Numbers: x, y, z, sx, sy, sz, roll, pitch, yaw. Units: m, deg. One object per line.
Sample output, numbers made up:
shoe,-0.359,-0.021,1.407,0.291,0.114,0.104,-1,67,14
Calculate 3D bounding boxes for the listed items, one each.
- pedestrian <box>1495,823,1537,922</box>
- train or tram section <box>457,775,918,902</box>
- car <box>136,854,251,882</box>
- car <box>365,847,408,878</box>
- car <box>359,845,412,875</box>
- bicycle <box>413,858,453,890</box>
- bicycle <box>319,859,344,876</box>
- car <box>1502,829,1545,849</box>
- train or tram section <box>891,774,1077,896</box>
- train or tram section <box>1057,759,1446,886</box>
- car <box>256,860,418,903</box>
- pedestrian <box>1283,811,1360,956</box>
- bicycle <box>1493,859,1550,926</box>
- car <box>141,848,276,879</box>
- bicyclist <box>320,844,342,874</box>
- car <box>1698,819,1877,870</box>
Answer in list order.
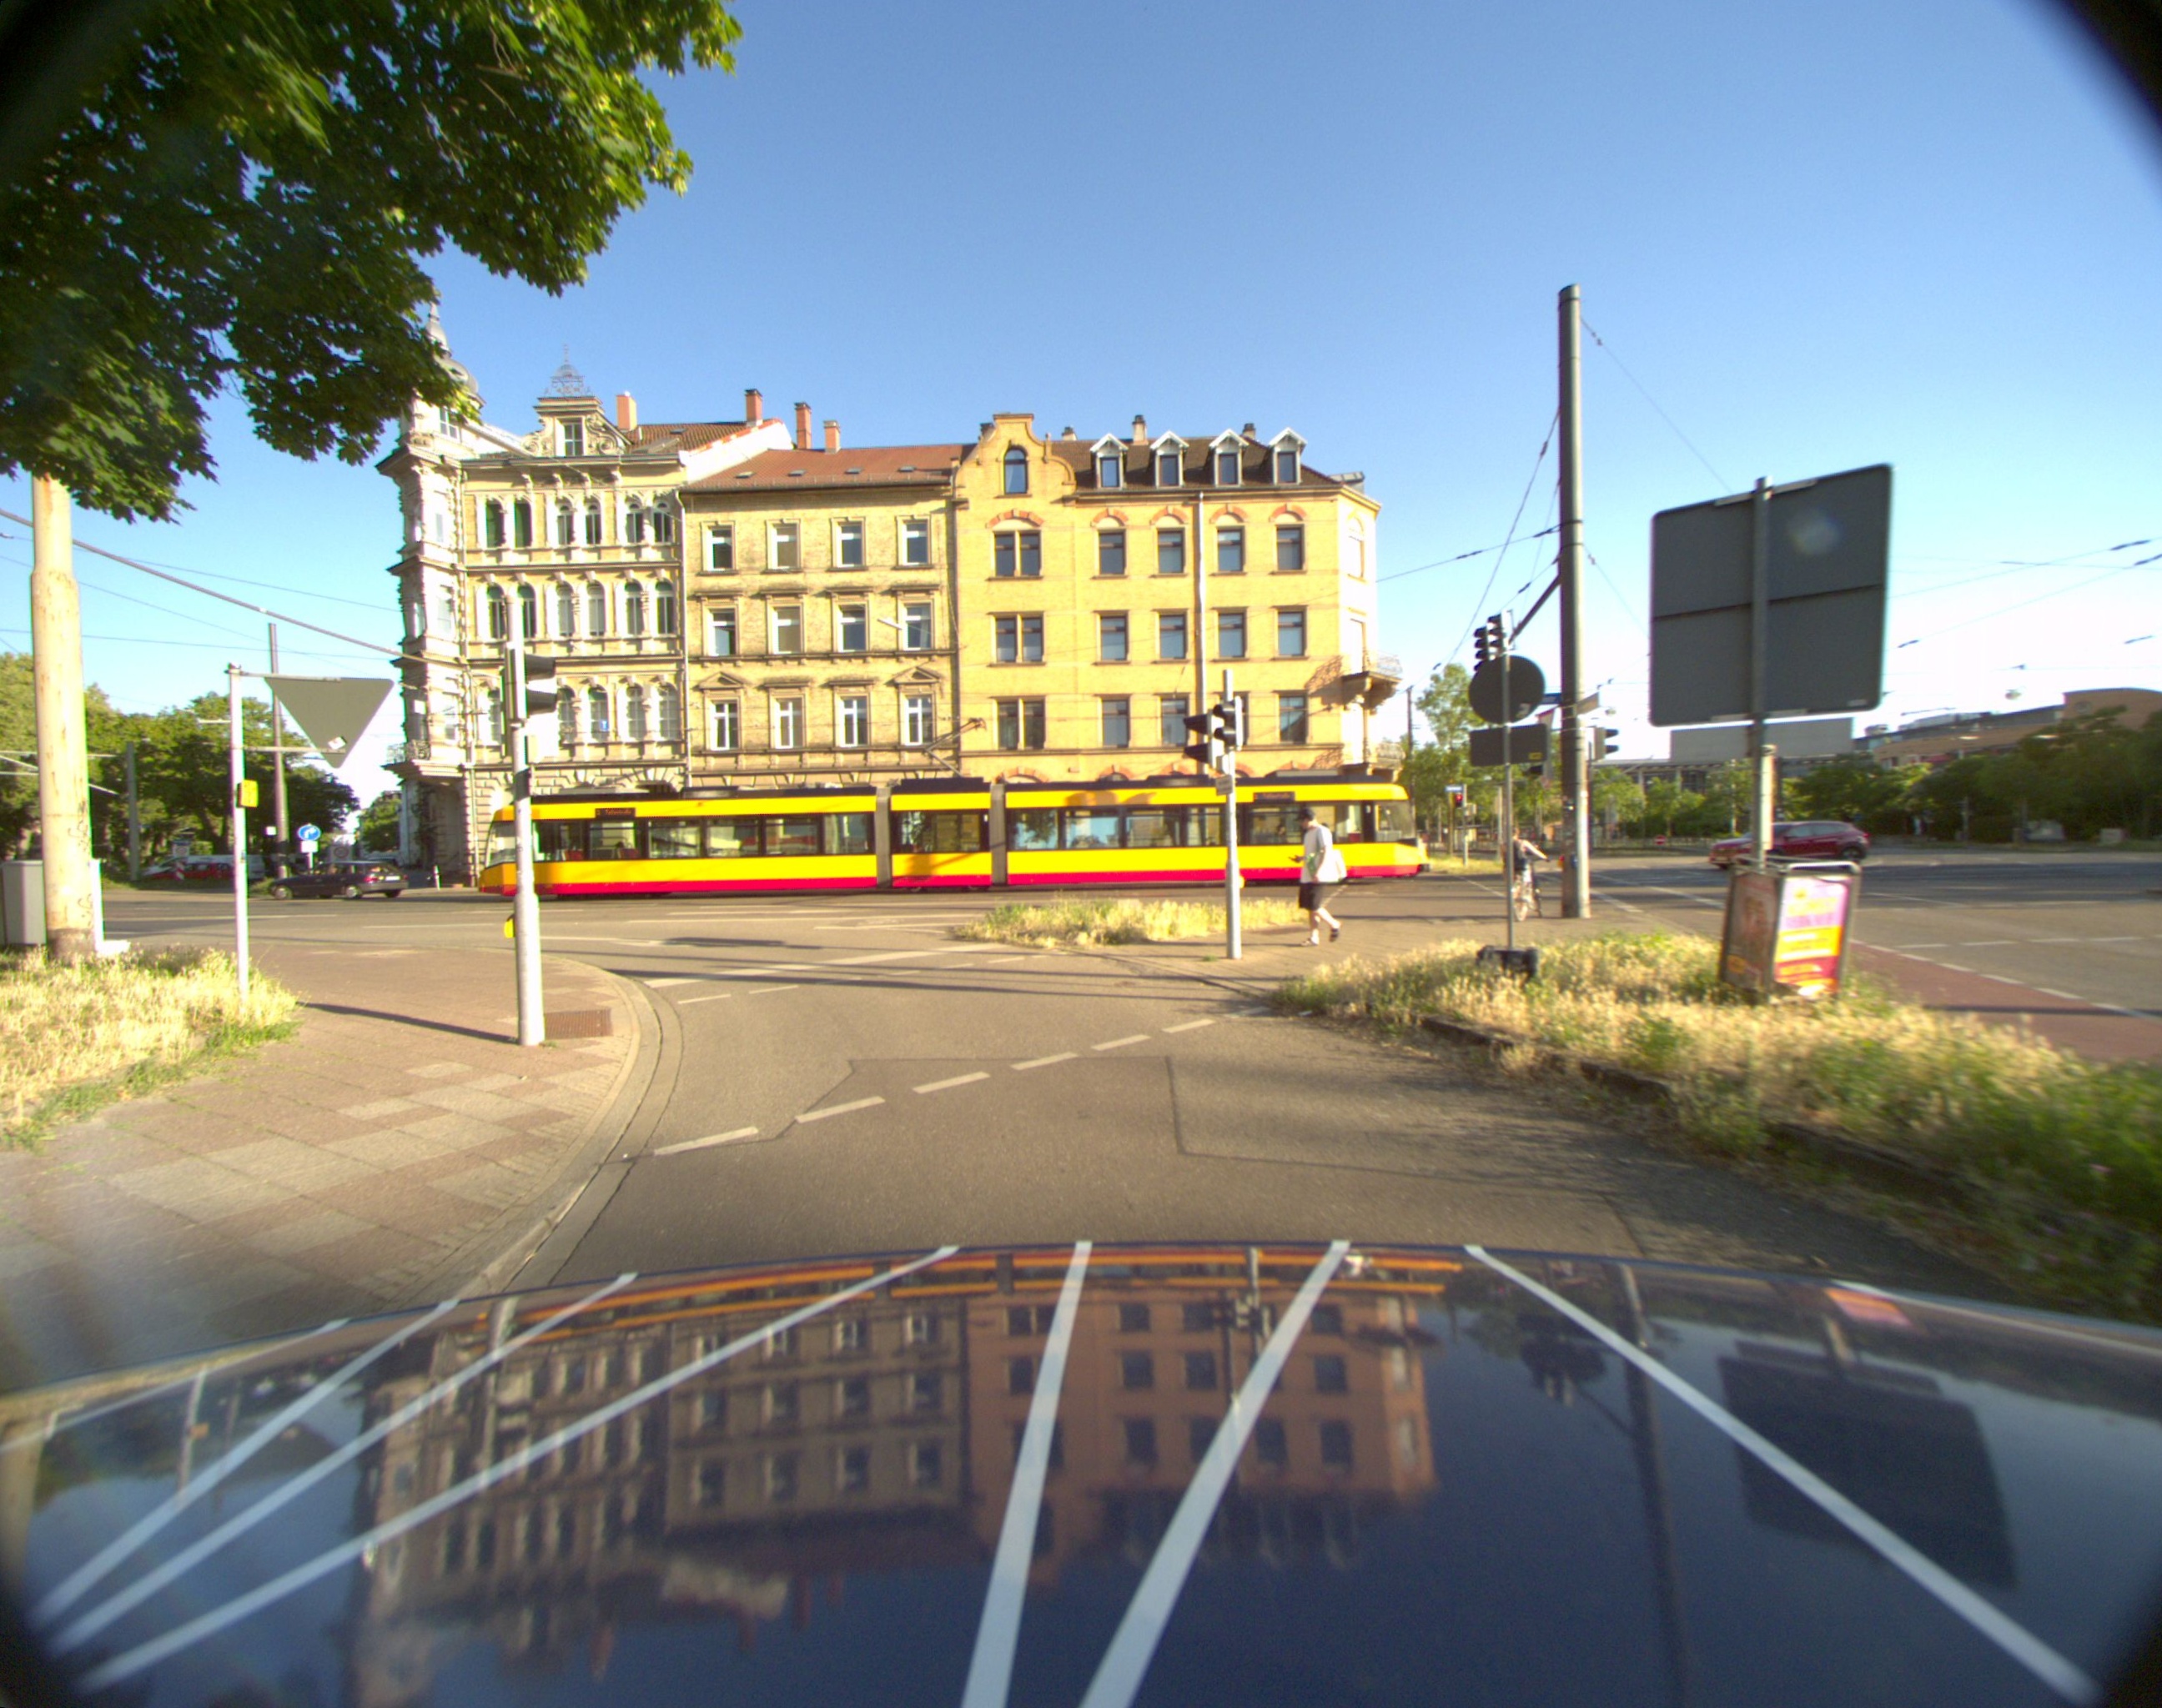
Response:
pedestrian,7.332,0.303,12.802,0.488,1.622,0.526,0,2,45
train or tram section,-12.009,-0.464,23.968,13.003,3.488,2.869,-1,1,1
car,-52.828,0.806,45.333,4.004,1.499,1.865,-1,1,-23
car,-47.996,0.582,52.589,2.004,2.002,4.622,-2,2,-41
car,-40.792,0.324,44.644,1.741,1.652,3.989,-2,1,-36
bicycle,-27.603,0.816,32.416,0.646,1.259,2.682,-2,1,-27
bicycle,-47.272,0.841,47.943,0.730,1.077,2.111,-3,1,-35
car,37.073,-1.285,63.753,1.996,1.565,4.003,-1,1,13
train or tram section,-2.867,-0.578,23.792,5.299,3.488,2.869,-1,1,1
train or tram section,5.001,-0.926,23.686,11.287,3.488,2.869,-1,1,1
car,-27.048,0.984,27.715,4.159,1.372,1.815,-1,1,2
pedestrian,3.102,0.363,9.872,0.826,1.779,0.912,-1,1,10
bicycle,7.411,0.616,12.758,1.675,1.023,0.398,-2,2,-45
car,-54.076,0.563,47.245,5.065,1.778,1.996,-1,1,-23
bicyclist,-47.259,0.318,47.875,0.731,1.830,1.209,-3,1,-34
car,24.326,-0.321,26.287,4.461,1.605,1.821,-1,1,1
